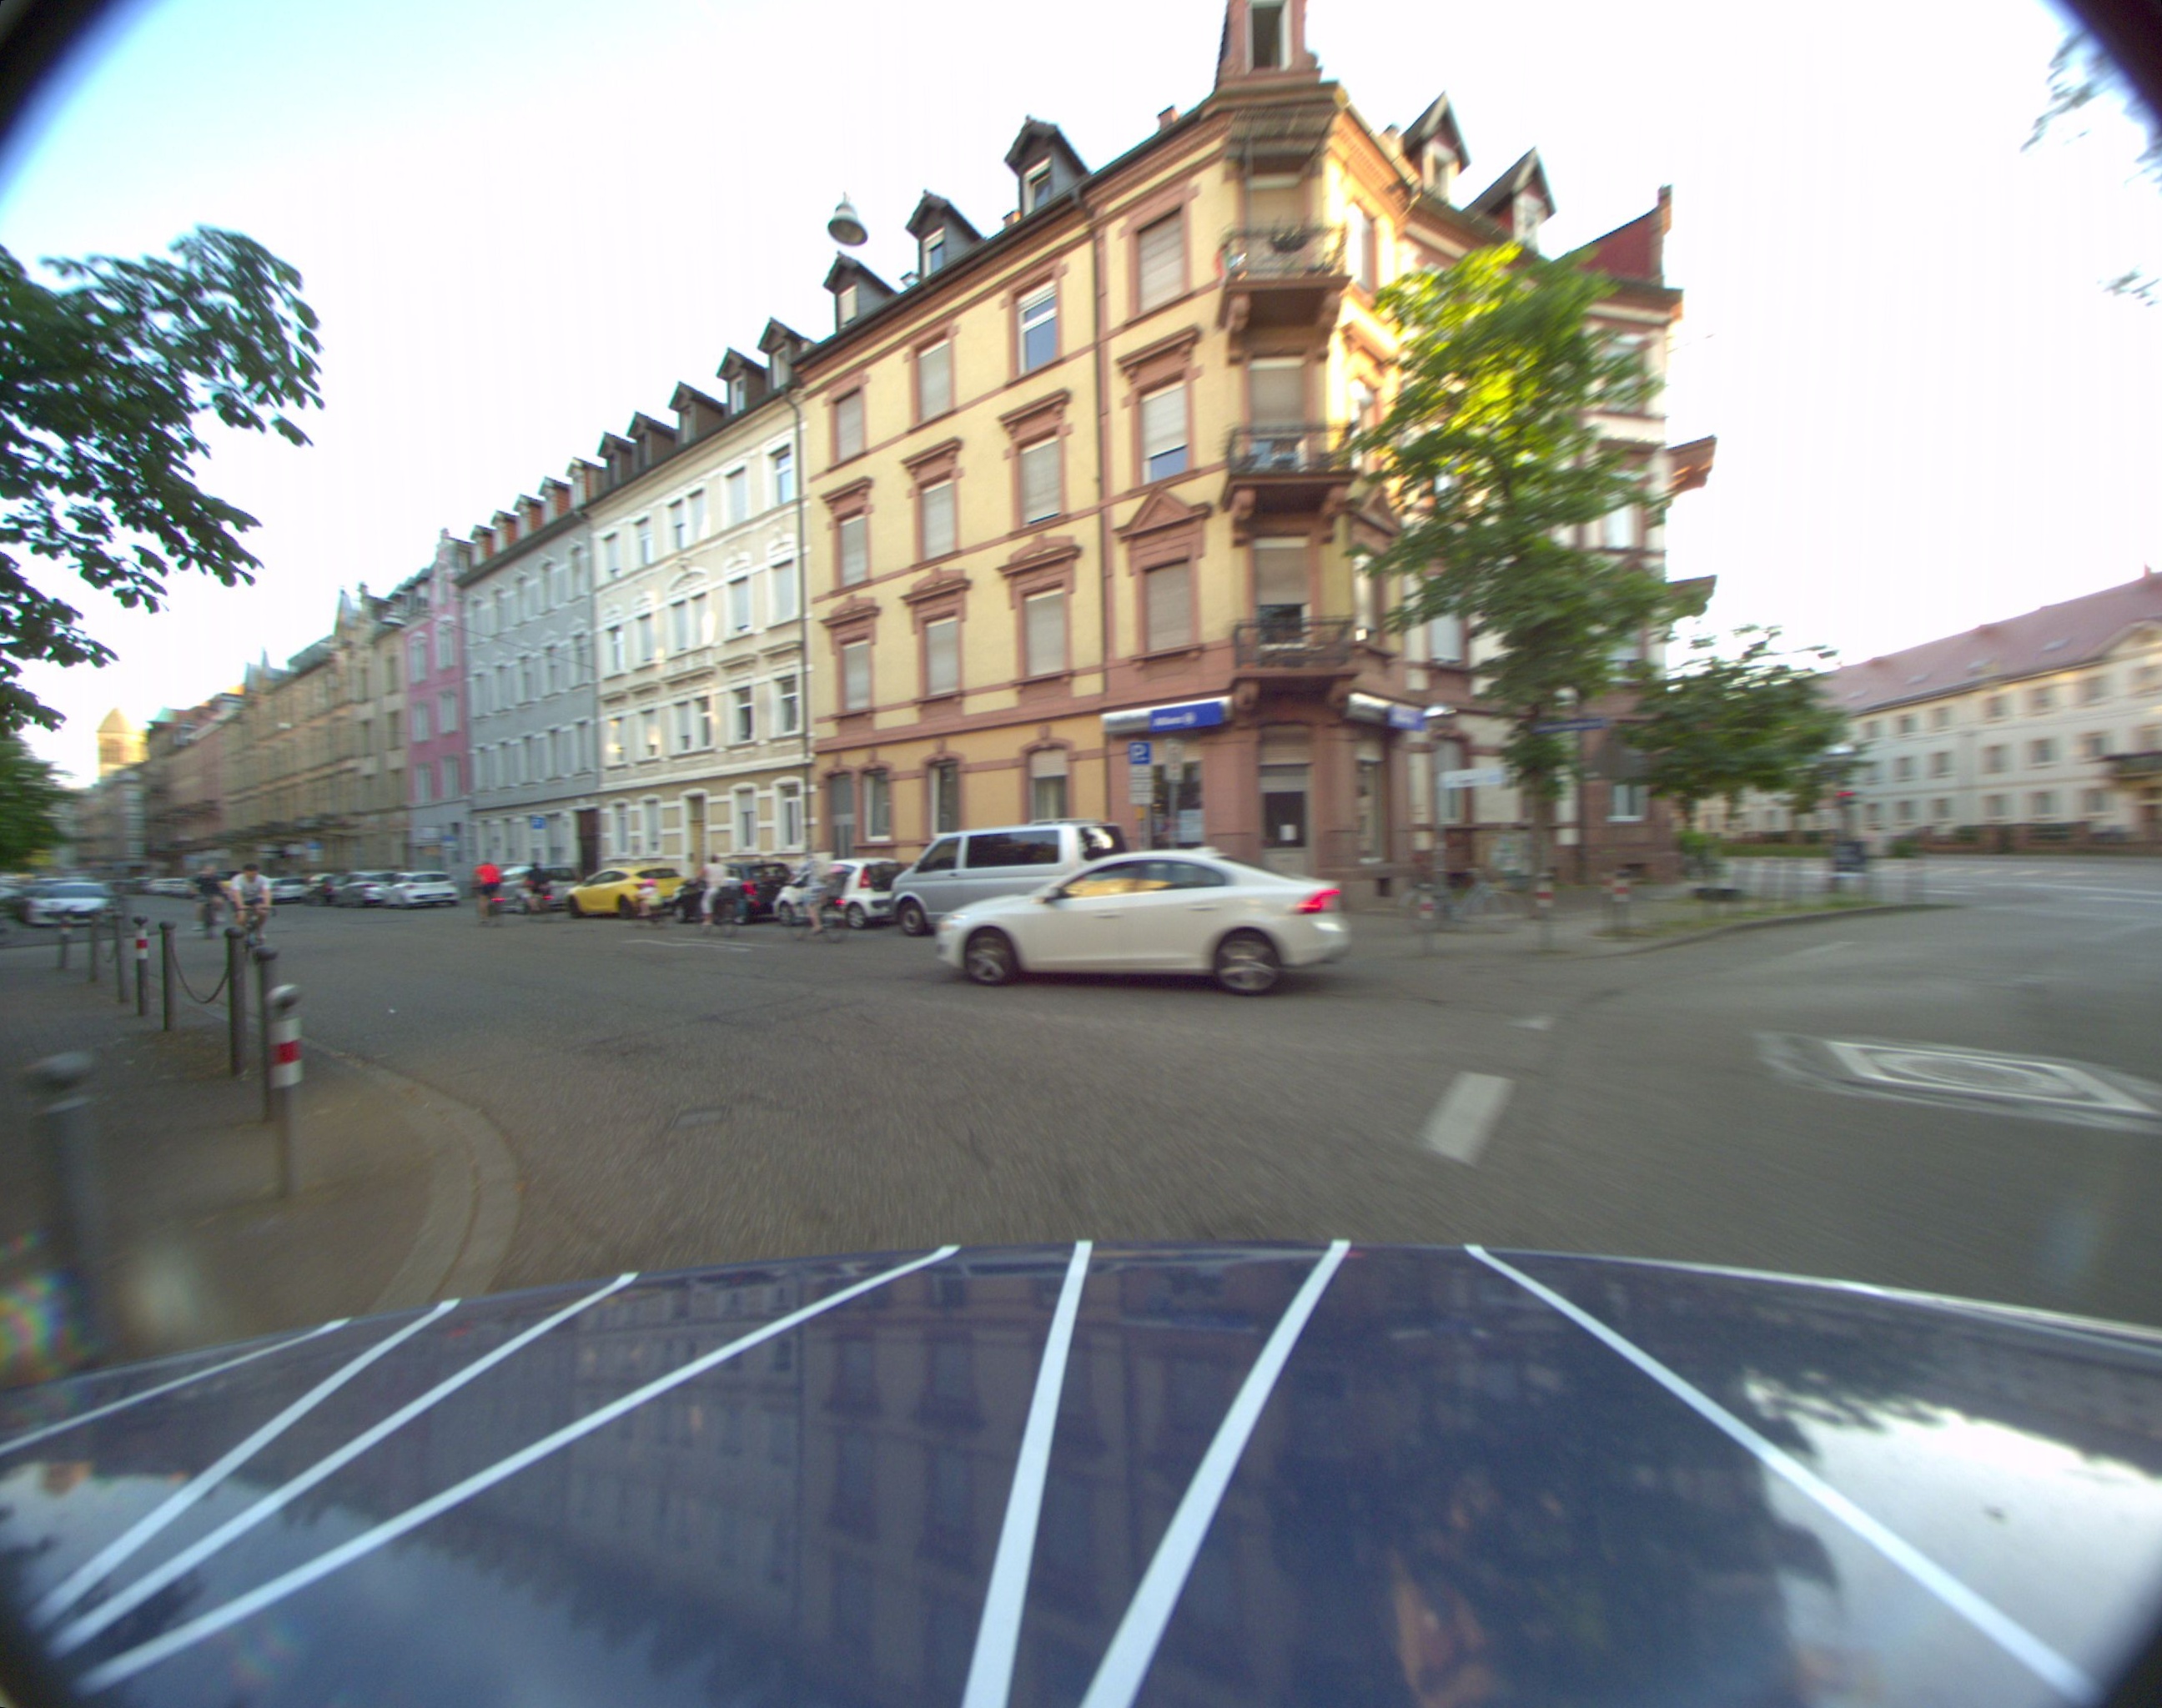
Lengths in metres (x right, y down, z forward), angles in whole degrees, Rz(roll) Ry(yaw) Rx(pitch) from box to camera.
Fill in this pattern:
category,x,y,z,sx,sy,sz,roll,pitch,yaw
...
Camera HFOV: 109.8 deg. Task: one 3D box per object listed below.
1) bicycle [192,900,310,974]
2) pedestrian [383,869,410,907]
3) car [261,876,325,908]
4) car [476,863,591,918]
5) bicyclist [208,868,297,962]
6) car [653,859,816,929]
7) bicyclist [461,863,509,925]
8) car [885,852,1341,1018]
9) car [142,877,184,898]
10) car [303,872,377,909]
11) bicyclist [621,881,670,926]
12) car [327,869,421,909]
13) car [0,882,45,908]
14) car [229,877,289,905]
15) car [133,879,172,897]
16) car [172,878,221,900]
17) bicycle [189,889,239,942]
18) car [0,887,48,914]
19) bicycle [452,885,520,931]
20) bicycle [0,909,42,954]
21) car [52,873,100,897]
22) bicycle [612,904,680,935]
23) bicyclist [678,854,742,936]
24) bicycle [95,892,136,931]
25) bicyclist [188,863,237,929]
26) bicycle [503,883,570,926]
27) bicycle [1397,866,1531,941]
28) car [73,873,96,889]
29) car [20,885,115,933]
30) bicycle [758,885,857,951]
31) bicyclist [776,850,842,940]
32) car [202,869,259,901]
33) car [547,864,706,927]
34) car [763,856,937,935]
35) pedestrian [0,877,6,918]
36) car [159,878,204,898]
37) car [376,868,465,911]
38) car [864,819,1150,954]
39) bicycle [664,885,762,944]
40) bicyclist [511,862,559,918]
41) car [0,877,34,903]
category,x,y,z,sx,sy,sz,roll,pitch,yaw
bicycle,-14.192,1.383,12.989,2.110,1.145,0.687,-2,1,24
pedestrian,-36.042,1.783,40.014,0.831,1.938,0.854,-1,1,38
car,-44.642,2.127,43.003,4.046,1.468,1.761,-2,6,35
car,-18.449,1.190,25.559,4.133,1.584,1.808,-2,3,36
bicyclist,-14.091,1.019,12.935,0.971,1.503,0.687,-2,1,24
car,-8.579,0.956,18.771,3.732,1.483,1.737,-2,3,31
bicyclist,-15.313,1.018,19.523,0.865,1.517,0.655,-1,1,31
car,0.414,0.806,8.769,4.830,1.508,2.003,-1,1,20
car,-86.443,3.162,71.527,4.046,1.664,1.760,-2,6,32
car,-36.850,1.792,37.762,4.046,1.584,1.761,-2,3,34
bicyclist,-10.075,1.135,17.597,0.728,0.971,0.649,-1,1,27
car,-31.810,1.560,34.153,4.660,1.584,1.841,-2,3,32
car,-67.285,2.611,46.589,1.818,1.520,4.312,-2,1,34
car,-52.094,2.319,48.133,4.268,1.468,1.760,-2,6,34
car,-91.449,3.339,74.825,4.046,1.427,1.760,-2,6,32
car,-70.543,2.774,60.574,4.046,1.468,1.760,-2,6,32
bicycle,-20.757,1.447,18.175,2.109,1.145,0.688,-2,1,40
car,-62.233,2.734,43.017,1.818,1.443,4.312,-2,1,34
bicycle,-15.308,1.367,19.536,2.009,1.101,0.653,-1,1,30
bicycle,-26.037,1.887,18.160,0.432,1.033,1.474,-2,1,-6
car,-79.010,2.434,59.736,4.273,1.730,1.961,-2,3,34
bicycle,-10.069,1.503,17.600,1.460,0.639,0.653,-1,1,27
bicyclist,-7.453,0.808,15.270,0.873,1.574,0.728,-1,1,30
bicycle,-30.171,1.777,23.736,2.109,1.144,0.688,-2,-2,35
bicyclist,-20.776,0.993,18.172,0.970,1.503,0.688,-1,1,40
bicycle,-15.109,1.389,21.076,2.009,1.101,0.724,-1,1,30
bicycle,5.896,0.758,11.792,1.794,1.077,0.561,-1,2,22
car,-155.491,4.238,118.534,4.046,2.266,1.760,-2,6,35
car,-34.306,1.812,25.818,4.451,1.475,1.773,-2,-2,39
bicycle,-4.927,1.120,13.666,1.804,1.088,0.687,-1,1,33
bicyclist,-4.867,0.715,13.612,0.873,1.536,0.680,-1,1,33
car,-59.800,2.179,53.397,4.281,1.950,1.878,-2,4,33
car,-13.150,1.155,21.912,4.788,1.517,1.847,-2,3,32
car,-5.157,0.872,16.853,3.603,1.483,1.692,-1,3,34
pedestrian,-46.805,1.877,32.512,0.831,1.756,0.854,-1,0,38
car,-77.905,2.957,65.793,4.046,1.427,1.760,-2,6,32
car,-27.404,1.441,31.477,3.916,1.567,1.761,-2,3,35
car,-1.465,0.508,13.943,4.991,2.045,2.051,-1,3,35
bicycle,-7.402,1.185,15.256,2.042,1.088,0.730,-1,1,30
bicyclist,-15.147,0.988,21.084,0.865,1.517,0.717,-1,1,30
car,-73.772,2.520,50.776,1.818,1.666,4.312,-2,1,34
